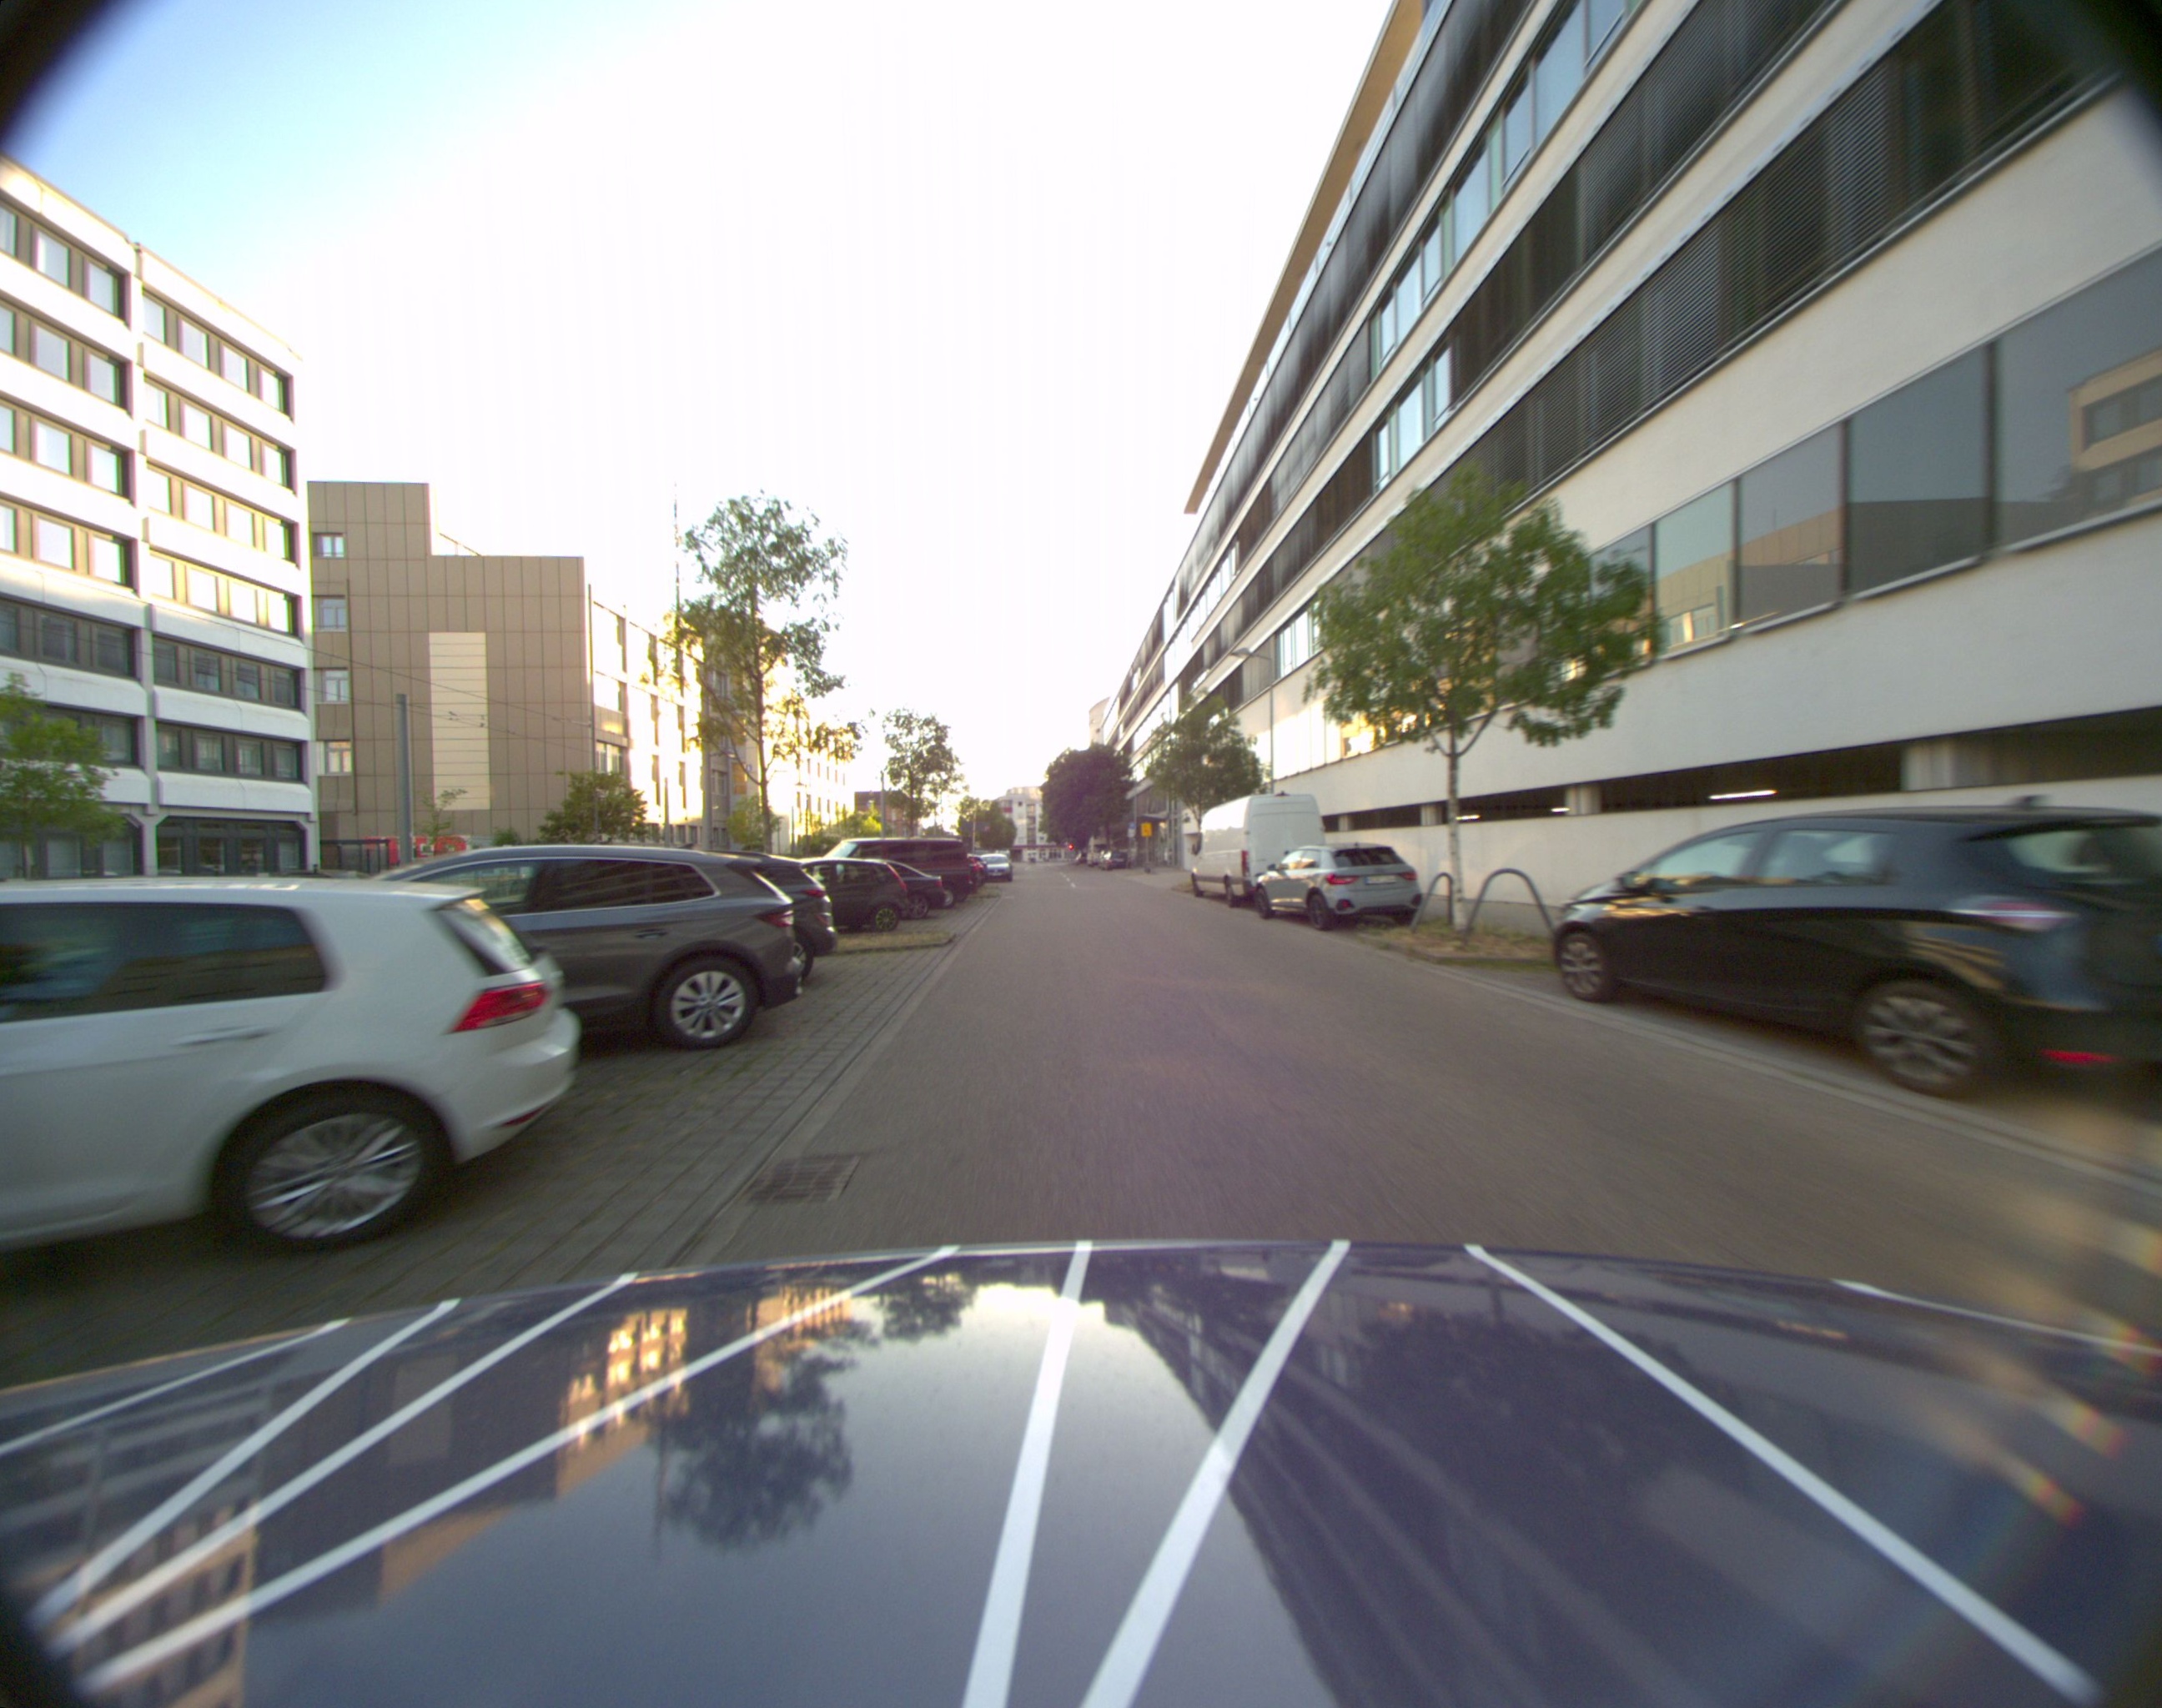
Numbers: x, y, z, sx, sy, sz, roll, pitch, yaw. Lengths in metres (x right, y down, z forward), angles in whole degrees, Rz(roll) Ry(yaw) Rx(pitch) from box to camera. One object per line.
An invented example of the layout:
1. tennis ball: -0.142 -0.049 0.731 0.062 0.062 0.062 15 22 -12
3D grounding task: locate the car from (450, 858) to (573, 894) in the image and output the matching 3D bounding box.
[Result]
1. car: -25.140 0.972 33.666 3.999 1.504 1.823 1 0 -4

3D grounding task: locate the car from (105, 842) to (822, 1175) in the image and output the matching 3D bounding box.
1. car: -4.256 0.853 5.974 3.785 1.715 1.759 -3 0 -35

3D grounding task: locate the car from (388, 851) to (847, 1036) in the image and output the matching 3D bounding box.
1. car: -4.927 0.799 8.615 3.993 1.630 1.968 0 1 -30

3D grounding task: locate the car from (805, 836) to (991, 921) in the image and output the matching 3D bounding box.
1. car: -5.031 0.612 21.210 4.611 2.023 1.867 -3 0 -36

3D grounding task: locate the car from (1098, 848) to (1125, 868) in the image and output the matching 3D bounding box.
1. car: 2.473 0.315 62.208 1.849 1.562 4.266 -1 0 -3

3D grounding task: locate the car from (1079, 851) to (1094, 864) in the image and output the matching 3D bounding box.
1. car: 0.655 0.423 95.115 1.594 1.559 4.470 -4 0 -3

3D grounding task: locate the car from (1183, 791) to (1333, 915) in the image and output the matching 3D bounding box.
1. car: 4.327 -0.011 20.033 1.964 2.601 6.890 -3 0 -2

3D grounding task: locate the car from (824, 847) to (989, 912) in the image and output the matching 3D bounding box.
1. car: -5.429 0.748 23.950 4.611 1.739 1.867 -3 0 -36

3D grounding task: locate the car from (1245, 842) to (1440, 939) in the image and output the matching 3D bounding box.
1. car: 4.566 0.582 13.942 1.761 1.431 3.899 -3 0 -7

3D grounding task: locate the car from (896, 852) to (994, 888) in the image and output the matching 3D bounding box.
1. car: -6.258 0.672 35.144 4.008 1.512 1.922 -1 2 -38

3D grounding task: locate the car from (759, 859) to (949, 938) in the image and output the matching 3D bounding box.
1. car: -5.138 0.940 17.415 3.785 1.456 1.634 -3 0 -38

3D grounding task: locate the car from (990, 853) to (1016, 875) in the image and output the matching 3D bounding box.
1. car: -5.521 0.658 53.808 1.681 1.443 4.185 -1 0 -6

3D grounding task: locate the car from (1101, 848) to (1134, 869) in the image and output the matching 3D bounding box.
1. car: 2.688 0.304 56.446 1.720 1.443 4.396 -1 0 -7

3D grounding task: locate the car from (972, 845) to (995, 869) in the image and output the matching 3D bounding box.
1. car: -9.236 0.276 72.140 1.809 2.164 4.734 1 0 -4

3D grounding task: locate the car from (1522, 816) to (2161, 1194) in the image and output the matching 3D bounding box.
1. car: 5.195 0.610 5.249 1.761 1.552 4.042 -3 0 -2

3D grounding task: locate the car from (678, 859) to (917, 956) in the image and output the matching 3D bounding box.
1. car: -5.243 0.908 14.258 3.785 1.434 1.759 -3 0 -38

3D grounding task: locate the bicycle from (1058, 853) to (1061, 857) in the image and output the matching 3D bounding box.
1. bicycle: -4.914 0.218 174.442 0.515 1.040 1.902 -1 0 -6

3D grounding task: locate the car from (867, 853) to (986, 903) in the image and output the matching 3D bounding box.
1. car: -5.865 0.863 29.078 4.006 1.586 1.732 -4 2 -39

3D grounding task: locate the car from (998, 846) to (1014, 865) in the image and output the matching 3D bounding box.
1. car: -10.773 0.184 108.883 2.057 2.641 5.432 2 0 -4

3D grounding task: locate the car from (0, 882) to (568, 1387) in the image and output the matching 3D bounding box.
1. car: -4.372 0.919 2.908 3.940 1.500 1.952 0 0 -33

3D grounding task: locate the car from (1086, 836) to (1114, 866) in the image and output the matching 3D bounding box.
1. car: 1.733 -0.285 72.431 2.106 2.648 6.949 -1 0 -3

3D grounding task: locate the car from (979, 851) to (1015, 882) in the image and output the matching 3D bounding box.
1. car: -4.587 0.659 41.418 1.736 1.457 3.997 -3 1 -7

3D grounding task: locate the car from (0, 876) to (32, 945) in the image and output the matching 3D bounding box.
1. car: -24.019 1.286 15.019 3.998 1.390 1.591 -4 0 -4
